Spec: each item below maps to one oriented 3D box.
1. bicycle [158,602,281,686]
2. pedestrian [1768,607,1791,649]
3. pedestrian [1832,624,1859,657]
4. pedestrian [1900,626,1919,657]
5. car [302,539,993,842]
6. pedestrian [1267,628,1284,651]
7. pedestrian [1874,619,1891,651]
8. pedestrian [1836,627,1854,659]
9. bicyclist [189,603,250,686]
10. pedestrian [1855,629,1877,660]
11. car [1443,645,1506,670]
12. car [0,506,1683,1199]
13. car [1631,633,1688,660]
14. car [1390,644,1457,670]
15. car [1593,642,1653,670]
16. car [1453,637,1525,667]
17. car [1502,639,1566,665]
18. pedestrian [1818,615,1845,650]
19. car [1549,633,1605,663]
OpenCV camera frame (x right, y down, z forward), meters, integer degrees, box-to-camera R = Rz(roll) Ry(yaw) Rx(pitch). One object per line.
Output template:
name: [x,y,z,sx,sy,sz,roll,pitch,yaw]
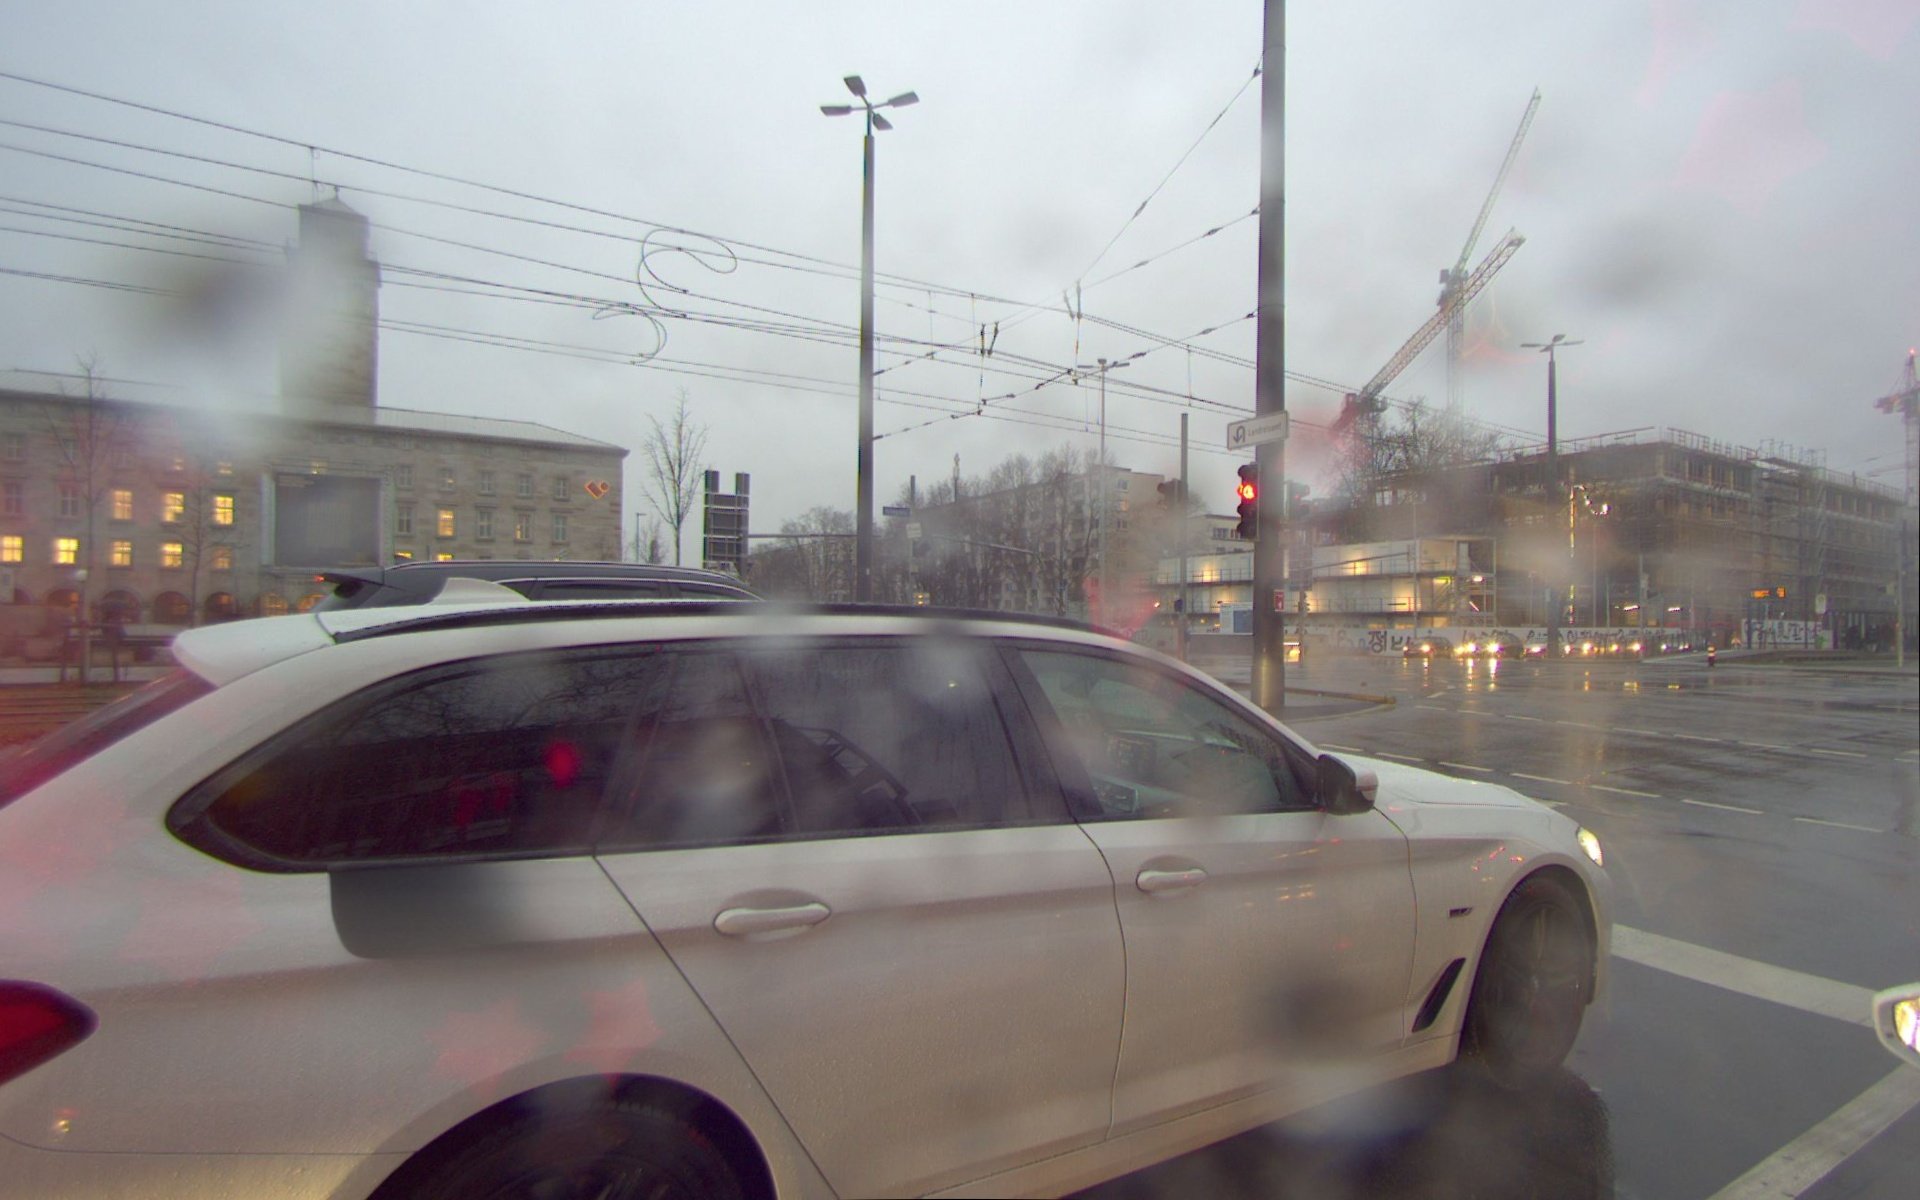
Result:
bicycle: [-16.184,0.980,22.029,2.042,1.755,0.757,3,-1,-33]
pedestrian: [47.229,1.611,57.910,0.754,2.354,0.761,3,-1,-30]
pedestrian: [55.206,2.509,62.618,1.082,2.040,0.937,2,0,-32]
pedestrian: [66.079,2.873,69.751,1.084,2.040,0.935,2,0,-38]
car: [-2.083,0.553,7.230,4.238,1.605,1.958,2,-1,-29]
pedestrian: [19.980,2.516,63.615,0.715,1.407,0.726,2,0,-25]
pedestrian: [57.927,2.194,63.060,0.659,1.994,0.566,2,1,-36]
pedestrian: [54.362,2.640,61.695,0.547,1.906,0.695,2,0,-30]
bicyclist: [-16.209,0.977,22.016,0.951,1.755,0.757,3,-1,-33]
pedestrian: [56.469,2.779,62.617,0.754,1.922,0.761,3,-1,-30]
car: [34.579,3.848,67.450,3.953,1.550,1.984,2,-2,-30]
car: [0.002,0.705,3.081,4.508,1.506,2.007,2,-2,-31]
car: [50.831,3.396,72.965,3.955,1.814,1.983,2,0,-31]
car: [29.361,3.576,63.619,3.953,1.550,1.984,2,-2,-30]
car: [46.215,3.866,69.959,3.955,1.814,1.983,2,0,-31]
car: [31.115,3.061,59.086,3.953,1.679,1.984,2,-2,-30]
car: [35.865,3.247,62.714,4.577,1.550,2.059,2,-2,-40]
pedestrian: [53.306,1.989,61.419,1.082,2.040,0.936,2,0,-33]
car: [40.891,3.161,66.532,3.963,1.852,1.852,2,0,-37]
